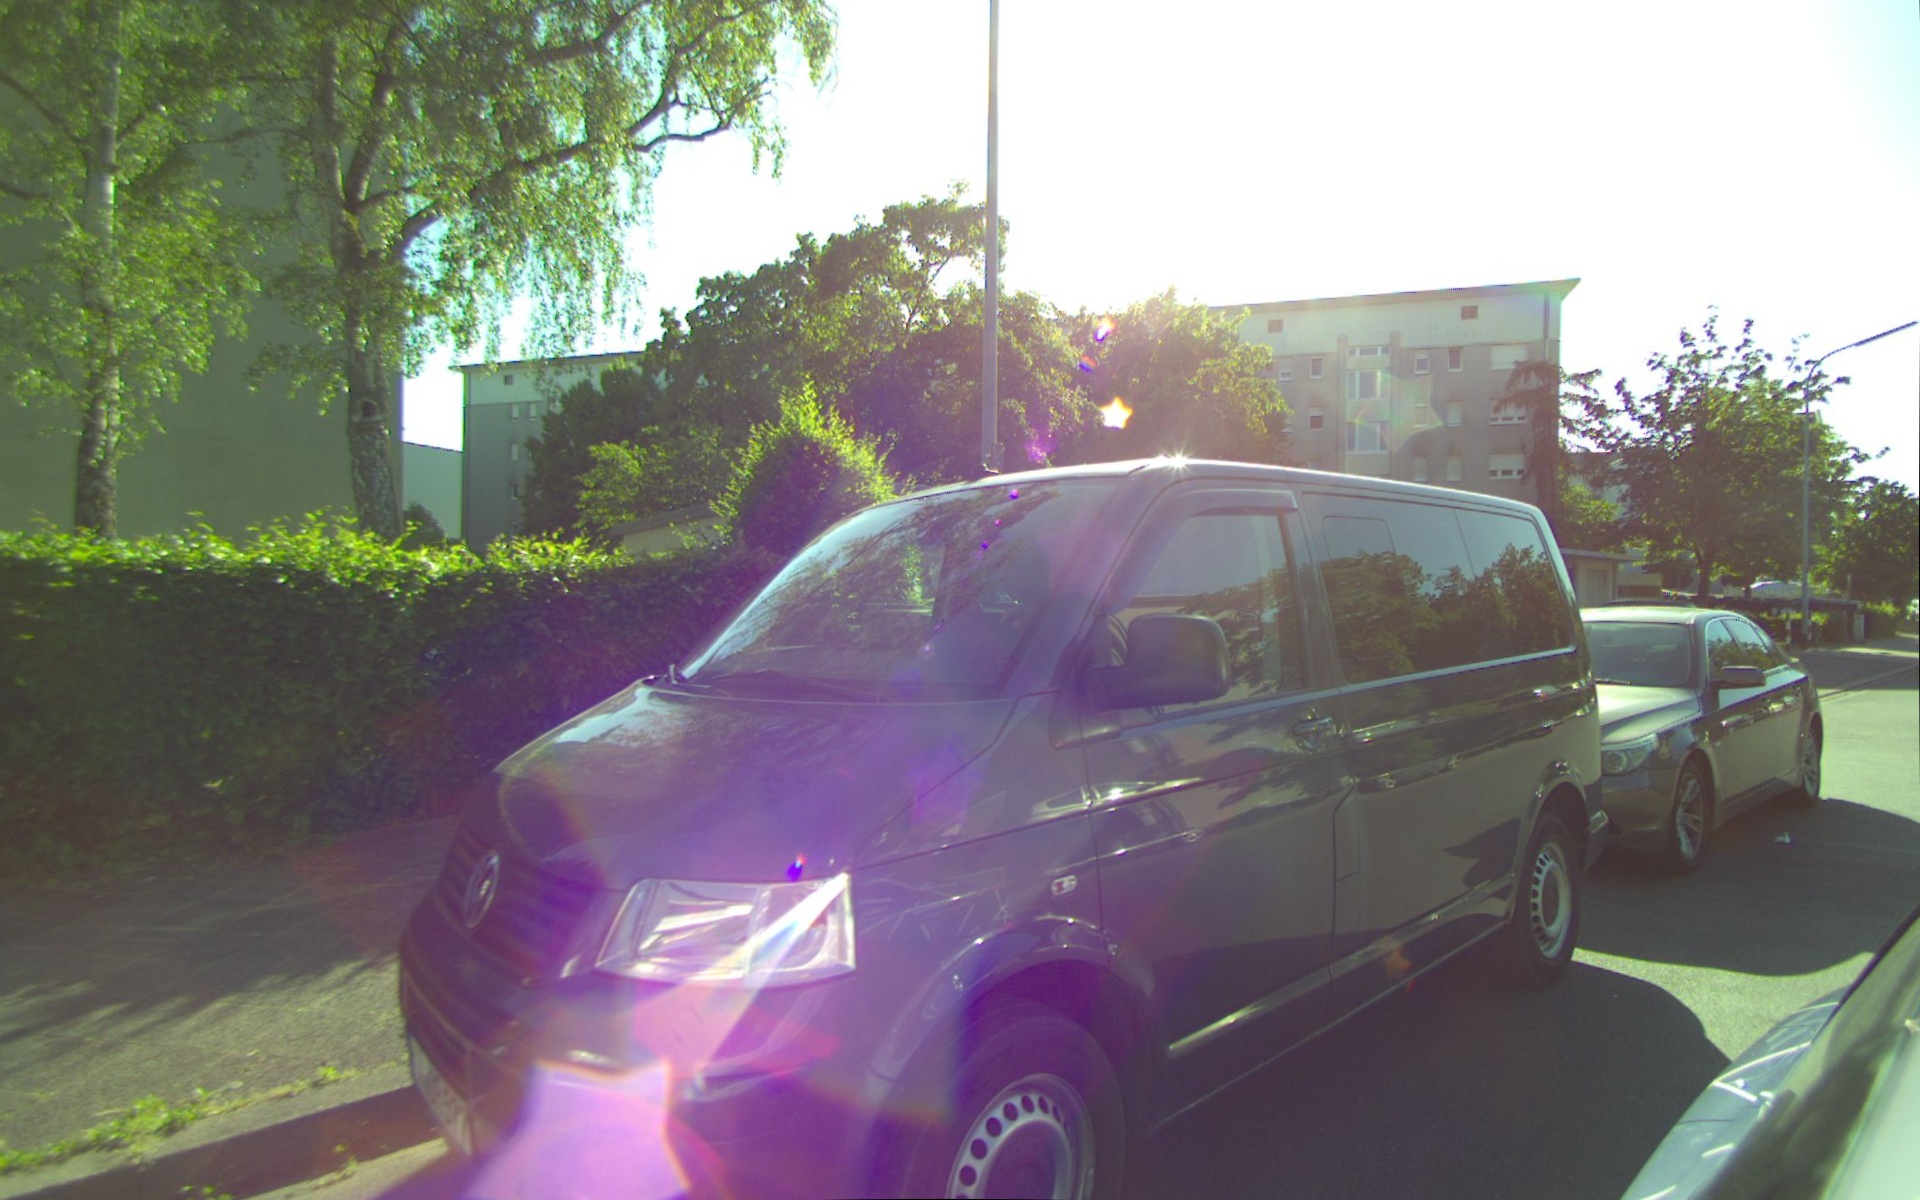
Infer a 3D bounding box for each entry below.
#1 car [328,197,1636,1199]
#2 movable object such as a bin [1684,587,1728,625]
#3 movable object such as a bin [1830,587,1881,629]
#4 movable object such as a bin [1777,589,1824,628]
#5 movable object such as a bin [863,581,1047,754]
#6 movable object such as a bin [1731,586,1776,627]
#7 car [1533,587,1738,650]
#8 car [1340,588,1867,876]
[{"bbox_3d":[0.599,0.428,3.605,4.623,1.959,1.855,0,-1,-41],"label":"car"},{"bbox_3d":[29.989,0.219,40.680,1.322,1.500,1.013,0,0,44],"label":"movable object such as a bin"},{"bbox_3d":[33.184,0.276,37.502,1.325,1.445,1.053,4,3,44],"label":"movable object such as a bin"},{"bbox_3d":[32.131,0.309,38.679,1.324,1.449,1.013,0,0,44],"label":"movable object such as a bin"},{"bbox_3d":[-0.059,0.530,8.910,1.112,1.382,1.227,0,1,-36],"label":"movable object such as a bin"},{"bbox_3d":[31.100,0.238,39.668,1.324,1.556,1.013,0,0,44],"label":"movable object such as a bin"},{"bbox_3d":[17.583,0.422,26.499,1.787,1.513,4.187,0,0,-42],"label":"car"},{"bbox_3d":[4.763,0.648,7.198,4.552,1.437,1.805,0,0,-39],"label":"car"}]
